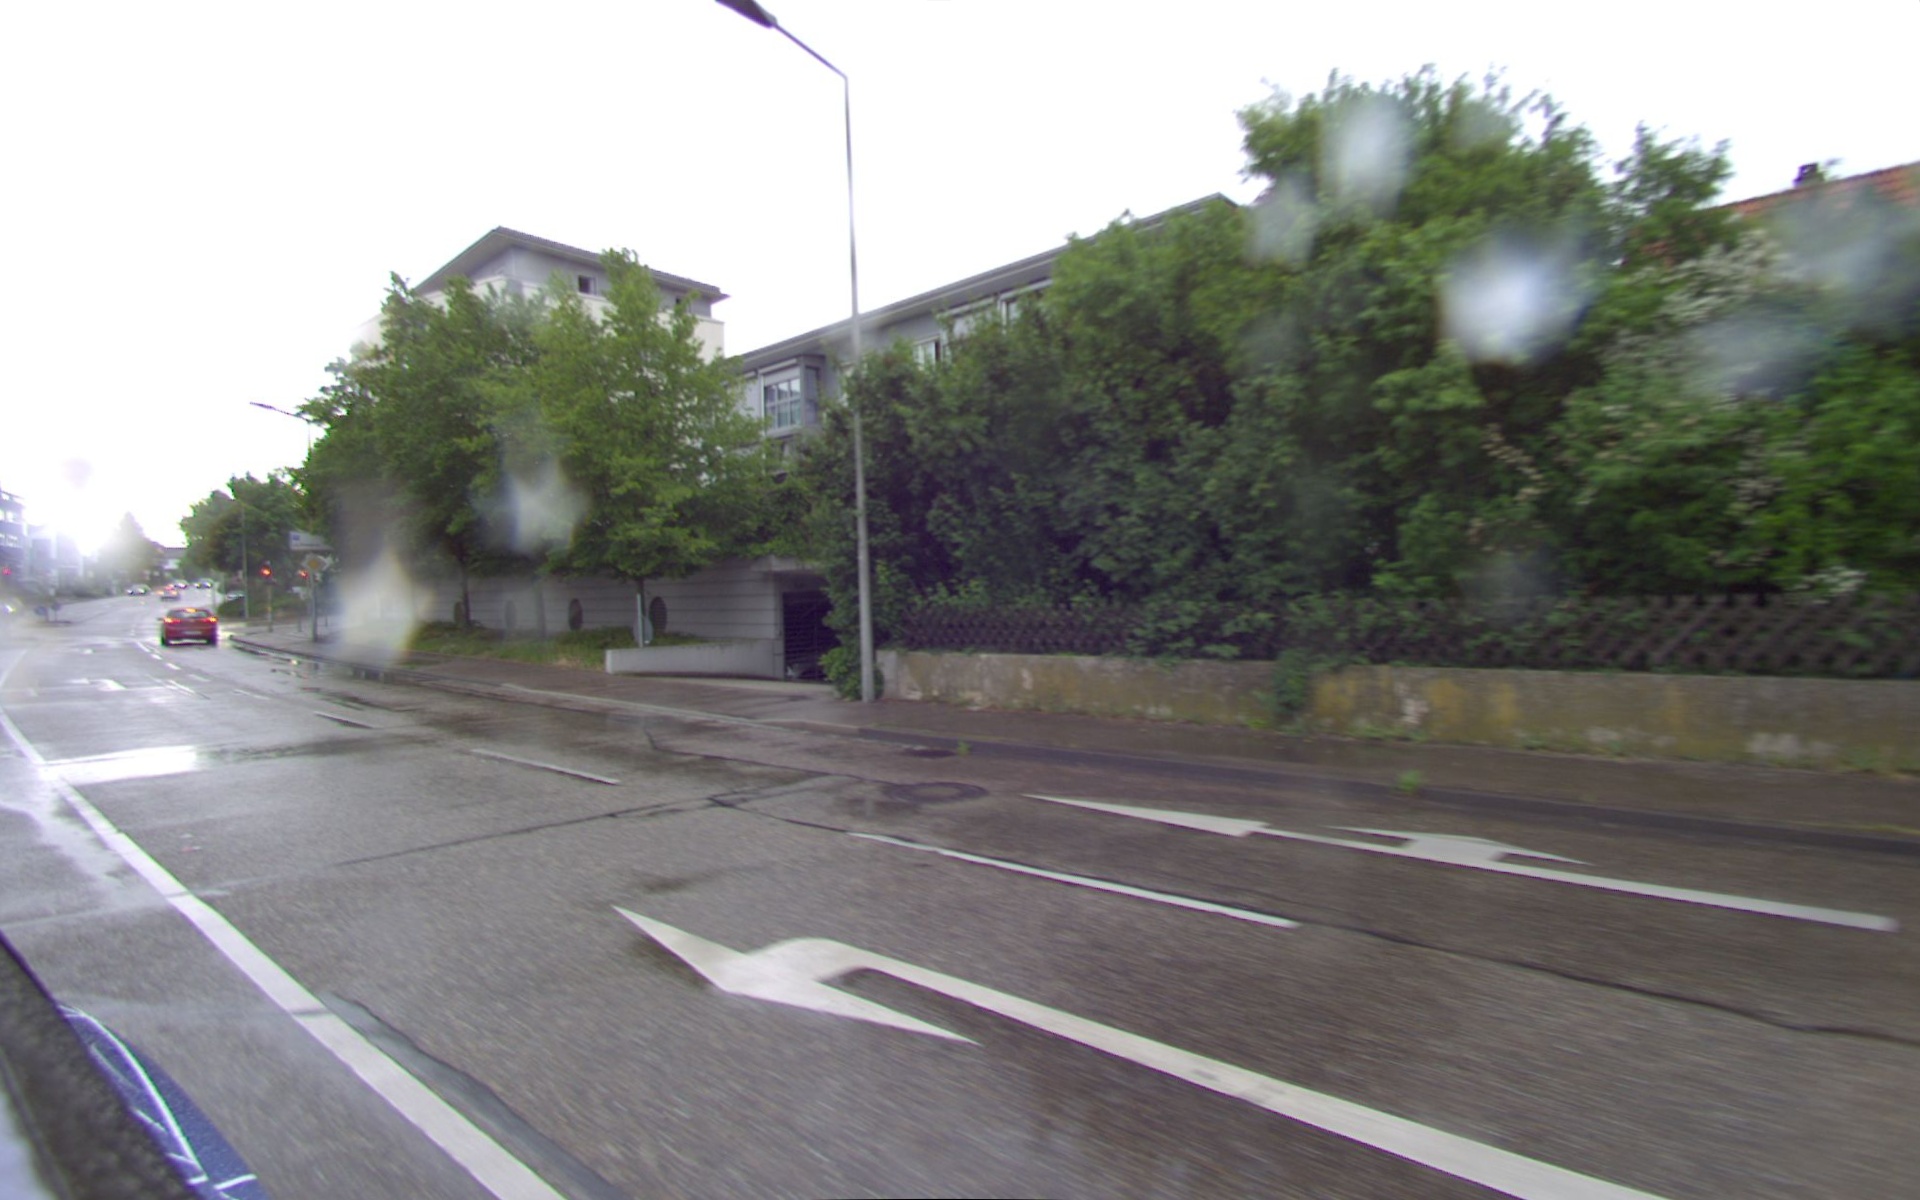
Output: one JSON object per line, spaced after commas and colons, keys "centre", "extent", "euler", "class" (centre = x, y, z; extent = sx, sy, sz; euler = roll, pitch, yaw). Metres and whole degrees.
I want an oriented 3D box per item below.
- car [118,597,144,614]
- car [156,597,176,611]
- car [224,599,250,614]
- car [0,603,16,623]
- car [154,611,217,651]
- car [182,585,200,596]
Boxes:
{"centre": [-111.183, 0.687, 135.761], "extent": [1.967, 2.028, 4.012], "euler": [-6, 4, -32], "class": "car"}
{"centre": [-96.630, 0.469, 123.199], "extent": [1.666, 1.566, 3.917], "euler": [-4, 3, -35], "class": "car"}
{"centre": [-80.190, 0.687, 112.340], "extent": [1.708, 1.489, 4.034], "euler": [-2, 1, -27], "class": "car"}
{"centre": [-78.255, 1.102, 82.121], "extent": [1.869, 1.556, 4.031], "euler": [-3, 2, -35], "class": "car"}
{"centre": [-31.418, 1.236, 41.012], "extent": [1.753, 1.518, 4.110], "euler": [2, -1, -41], "class": "car"}
{"centre": [-121.497, -1.491, 159.887], "extent": [1.799, 1.700, 4.012], "euler": [-1, 0, -32], "class": "car"}
